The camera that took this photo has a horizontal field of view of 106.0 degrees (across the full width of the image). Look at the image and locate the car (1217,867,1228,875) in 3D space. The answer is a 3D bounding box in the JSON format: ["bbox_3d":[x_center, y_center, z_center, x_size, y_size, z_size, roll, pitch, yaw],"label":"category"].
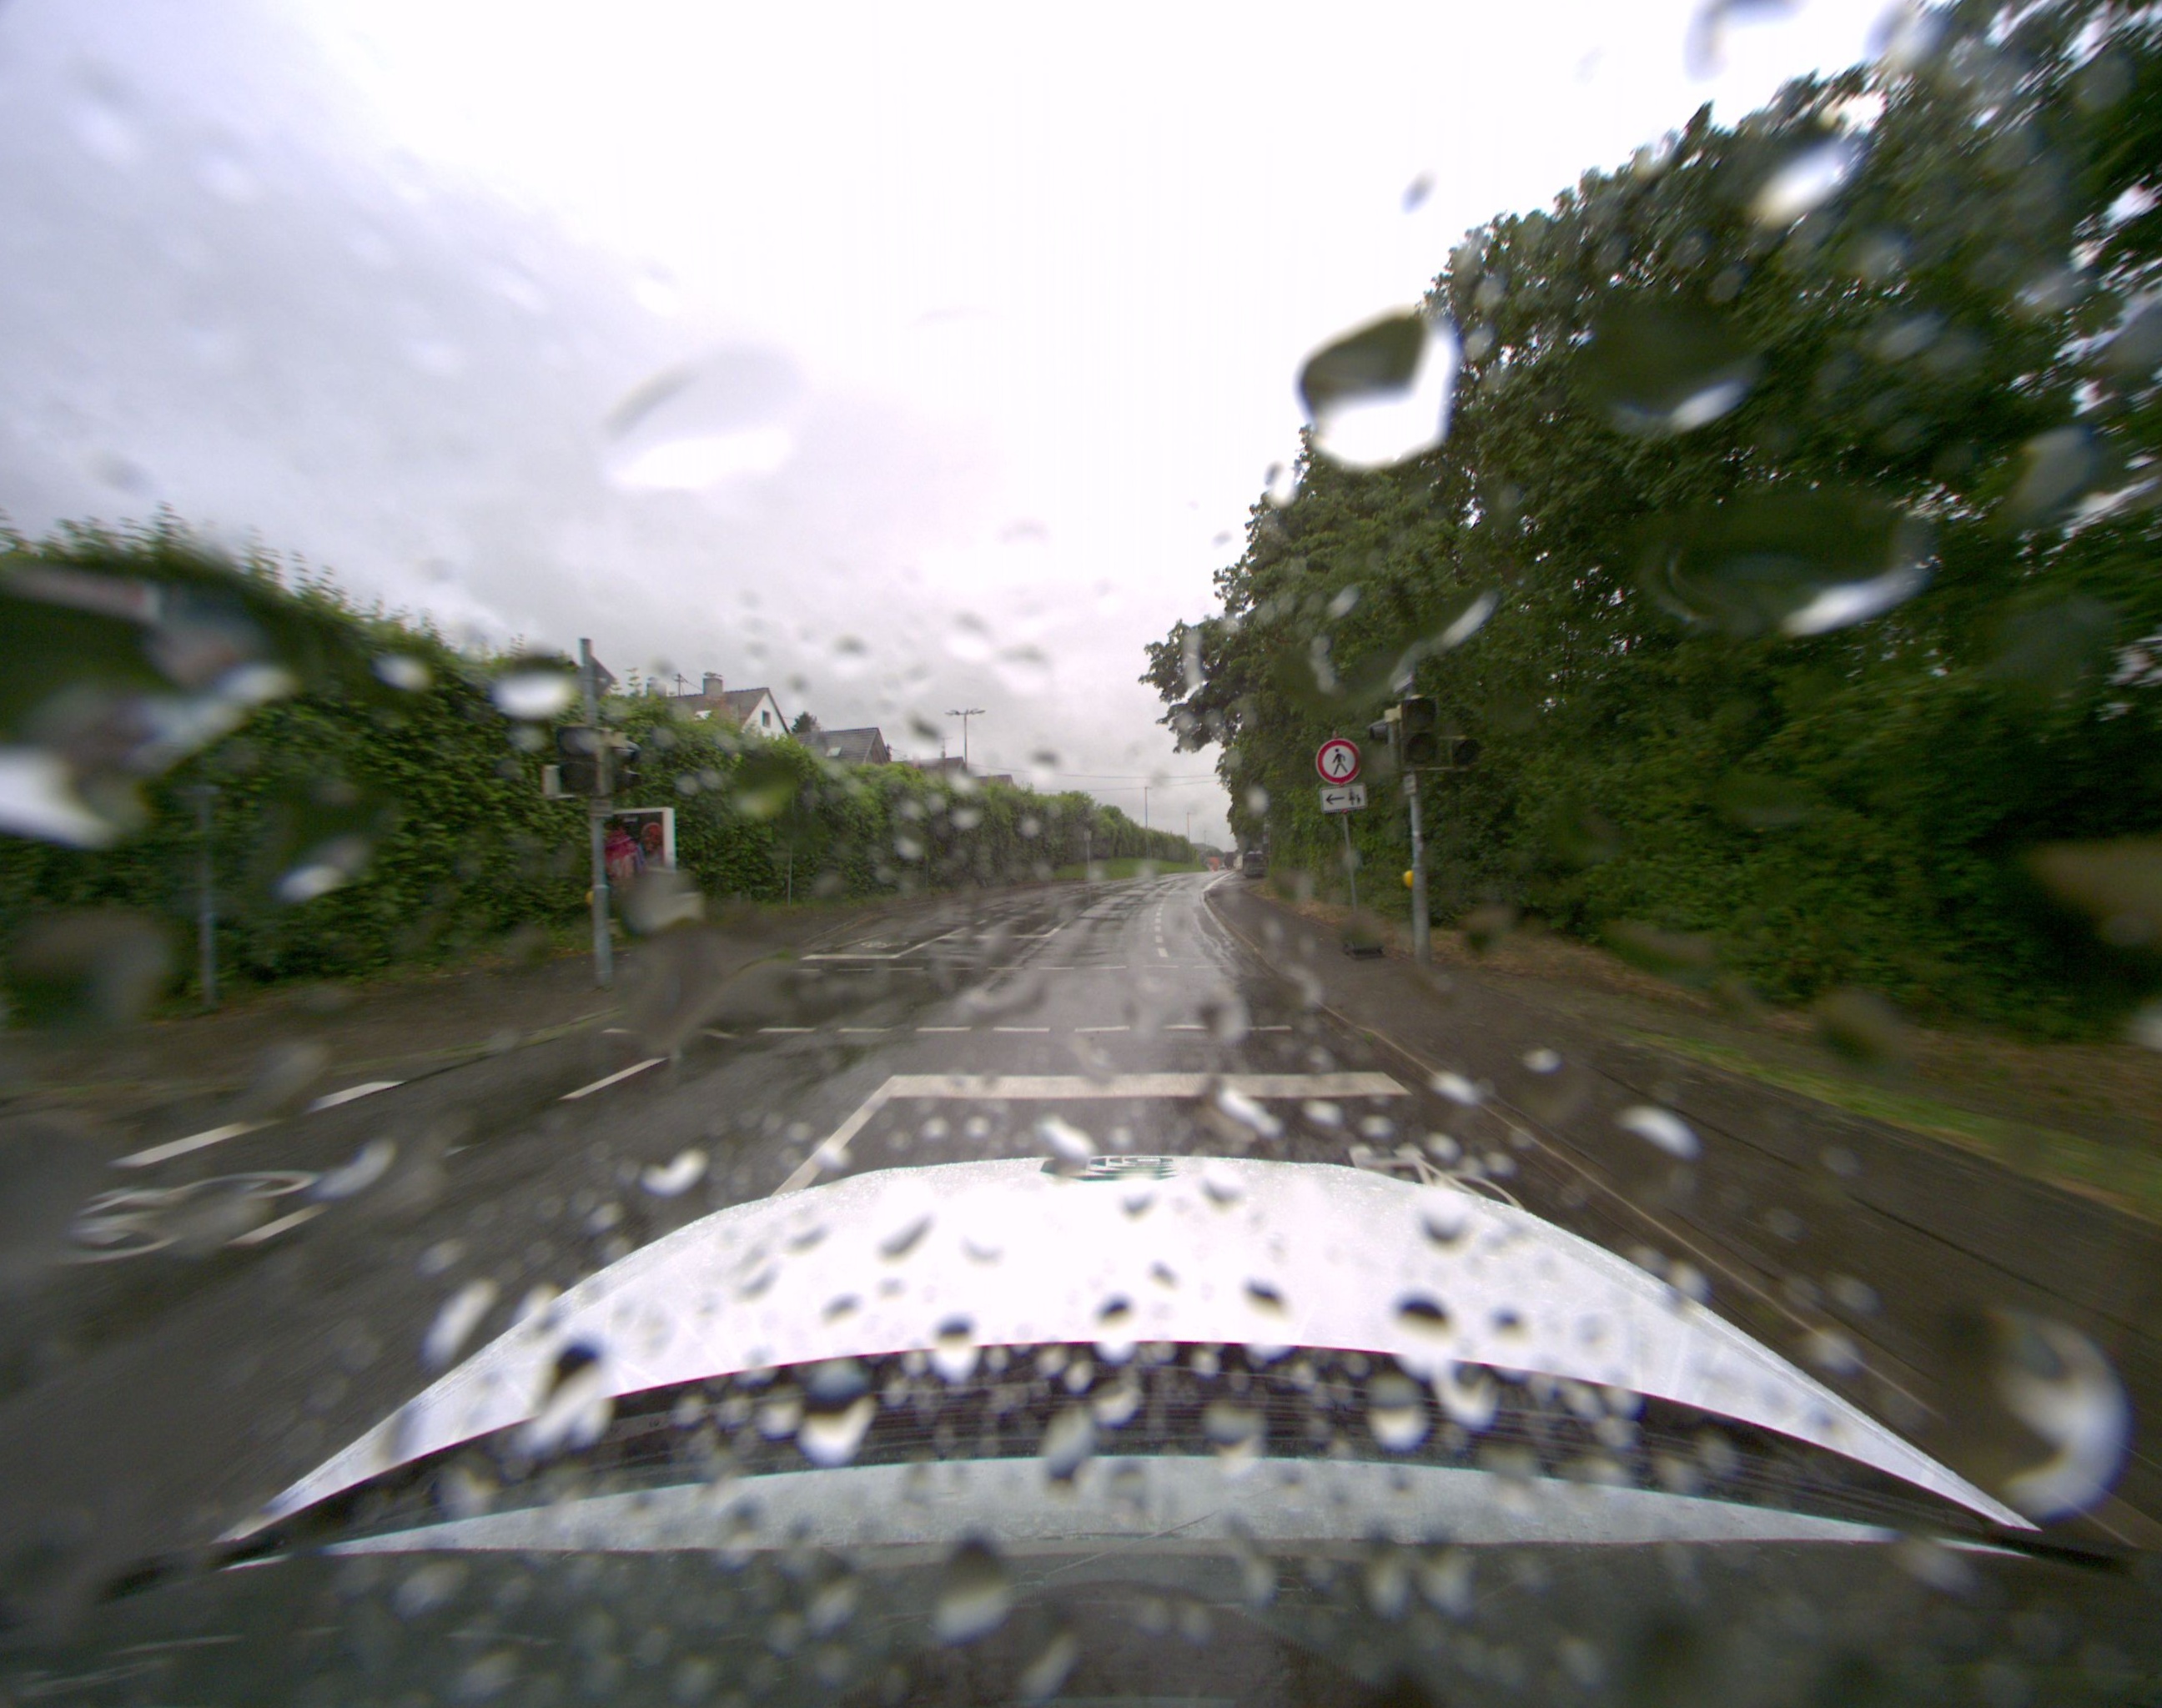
[{"bbox_3d":[29.284,3.479,168.649,1.985,1.611,4.004,1,-1,4],"label":"car"}]
